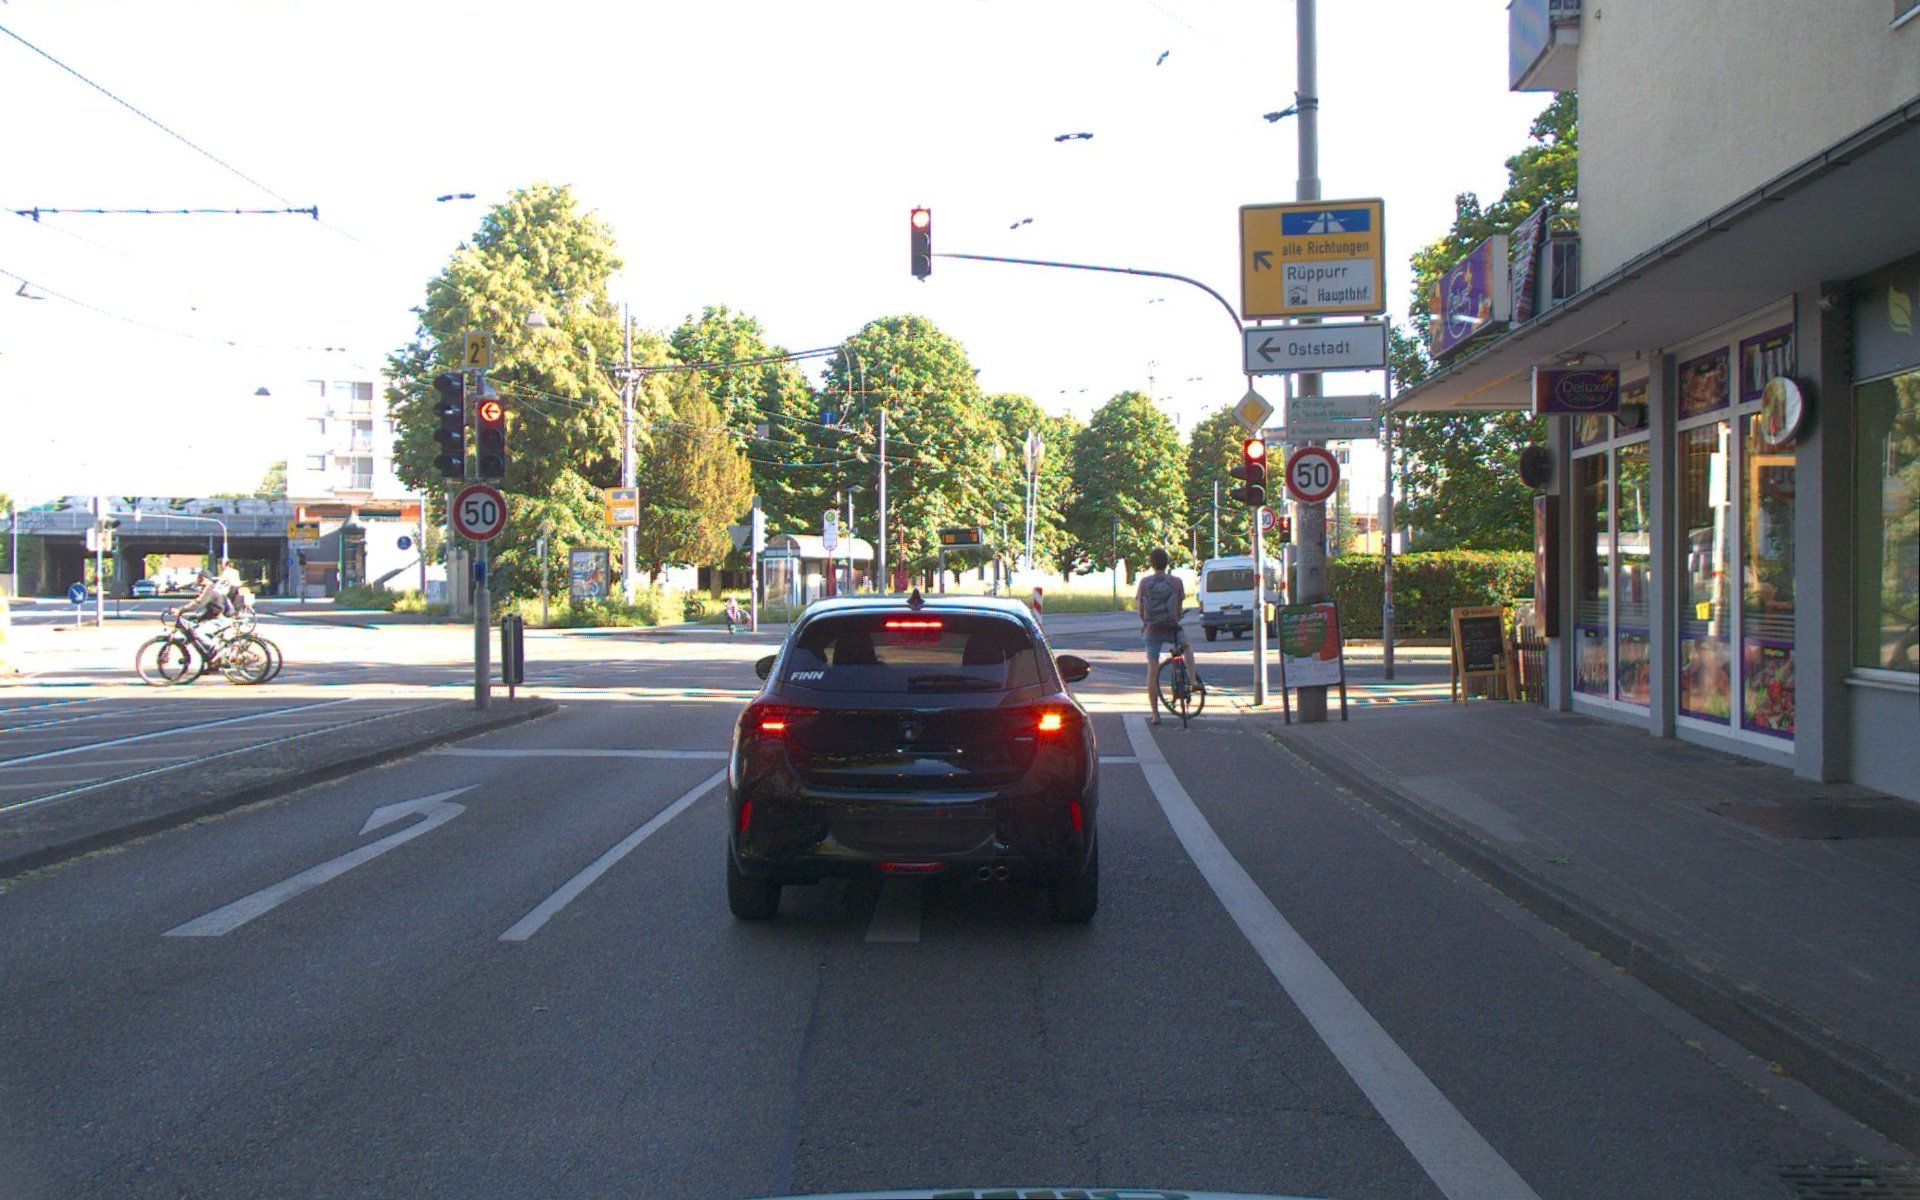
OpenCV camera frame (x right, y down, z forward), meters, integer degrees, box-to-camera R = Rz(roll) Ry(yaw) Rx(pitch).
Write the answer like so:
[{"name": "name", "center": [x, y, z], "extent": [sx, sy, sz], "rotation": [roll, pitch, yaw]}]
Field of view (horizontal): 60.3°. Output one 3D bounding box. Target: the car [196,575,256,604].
[{"name": "car", "center": [-47.892, -0.684, 107.977], "extent": [1.694, 1.836, 4.192], "rotation": [0, 1, 5]}]

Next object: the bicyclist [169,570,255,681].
[{"name": "bicyclist", "center": [-10.767, 0.353, 23.856], "extent": [1.098, 1.547, 0.915], "rotation": [-1, 0, -24]}]

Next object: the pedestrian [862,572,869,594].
[{"name": "pedestrian", "center": [-6.127, -1.116, 107.521], "extent": [0.404, 1.437, 0.436], "rotation": [2, 0, -3]}]

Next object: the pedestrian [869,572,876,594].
[{"name": "pedestrian", "center": [-5.652, -1.104, 107.048], "extent": [0.404, 1.437, 0.436], "rotation": [2, 0, -1]}]

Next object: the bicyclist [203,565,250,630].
[{"name": "bicyclist", "center": [-18.425, -0.060, 41.568], "extent": [0.843, 1.623, 0.650], "rotation": [0, 0, 14]}]

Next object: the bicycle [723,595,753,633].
[{"name": "bicycle", "center": [-6.220, 0.381, 46.378], "extent": [0.593, 1.049, 1.982], "rotation": [0, 1, -1]}]

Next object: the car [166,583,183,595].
[{"name": "car", "center": [-102.862, -1.452, 216.676], "extent": [1.969, 1.630, 4.211], "rotation": [-1, 1, -26]}]

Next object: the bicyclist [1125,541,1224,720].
[{"name": "bicyclist", "center": [2.314, 0.321, 17.947], "extent": [0.922, 1.883, 0.864], "rotation": [-1, 0, -1]}]

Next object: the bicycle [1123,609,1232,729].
[{"name": "bicycle", "center": [2.324, 0.708, 17.944], "extent": [0.842, 1.173, 2.171], "rotation": [-1, 1, -1]}]

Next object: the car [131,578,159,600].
[{"name": "car", "center": [-71.465, -0.952, 145.024], "extent": [2.186, 1.855, 4.112], "rotation": [-1, 1, -26]}]

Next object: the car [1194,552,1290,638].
[{"name": "car", "center": [8.010, -0.155, 46.583], "extent": [2.020, 2.288, 4.890], "rotation": [0, 1, 17]}]

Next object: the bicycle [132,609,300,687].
[{"name": "bicycle", "center": [-10.708, 0.675, 23.872], "extent": [2.162, 1.051, 0.828], "rotation": [-1, 0, -24]}]

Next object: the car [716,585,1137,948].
[{"name": "car", "center": [-0.155, 0.661, 8.786], "extent": [1.692, 1.454, 4.186], "rotation": [1, 0, -1]}]

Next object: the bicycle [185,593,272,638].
[{"name": "bicycle", "center": [-18.373, 0.379, 41.562], "extent": [2.011, 1.113, 0.593], "rotation": [0, 0, 11]}]
